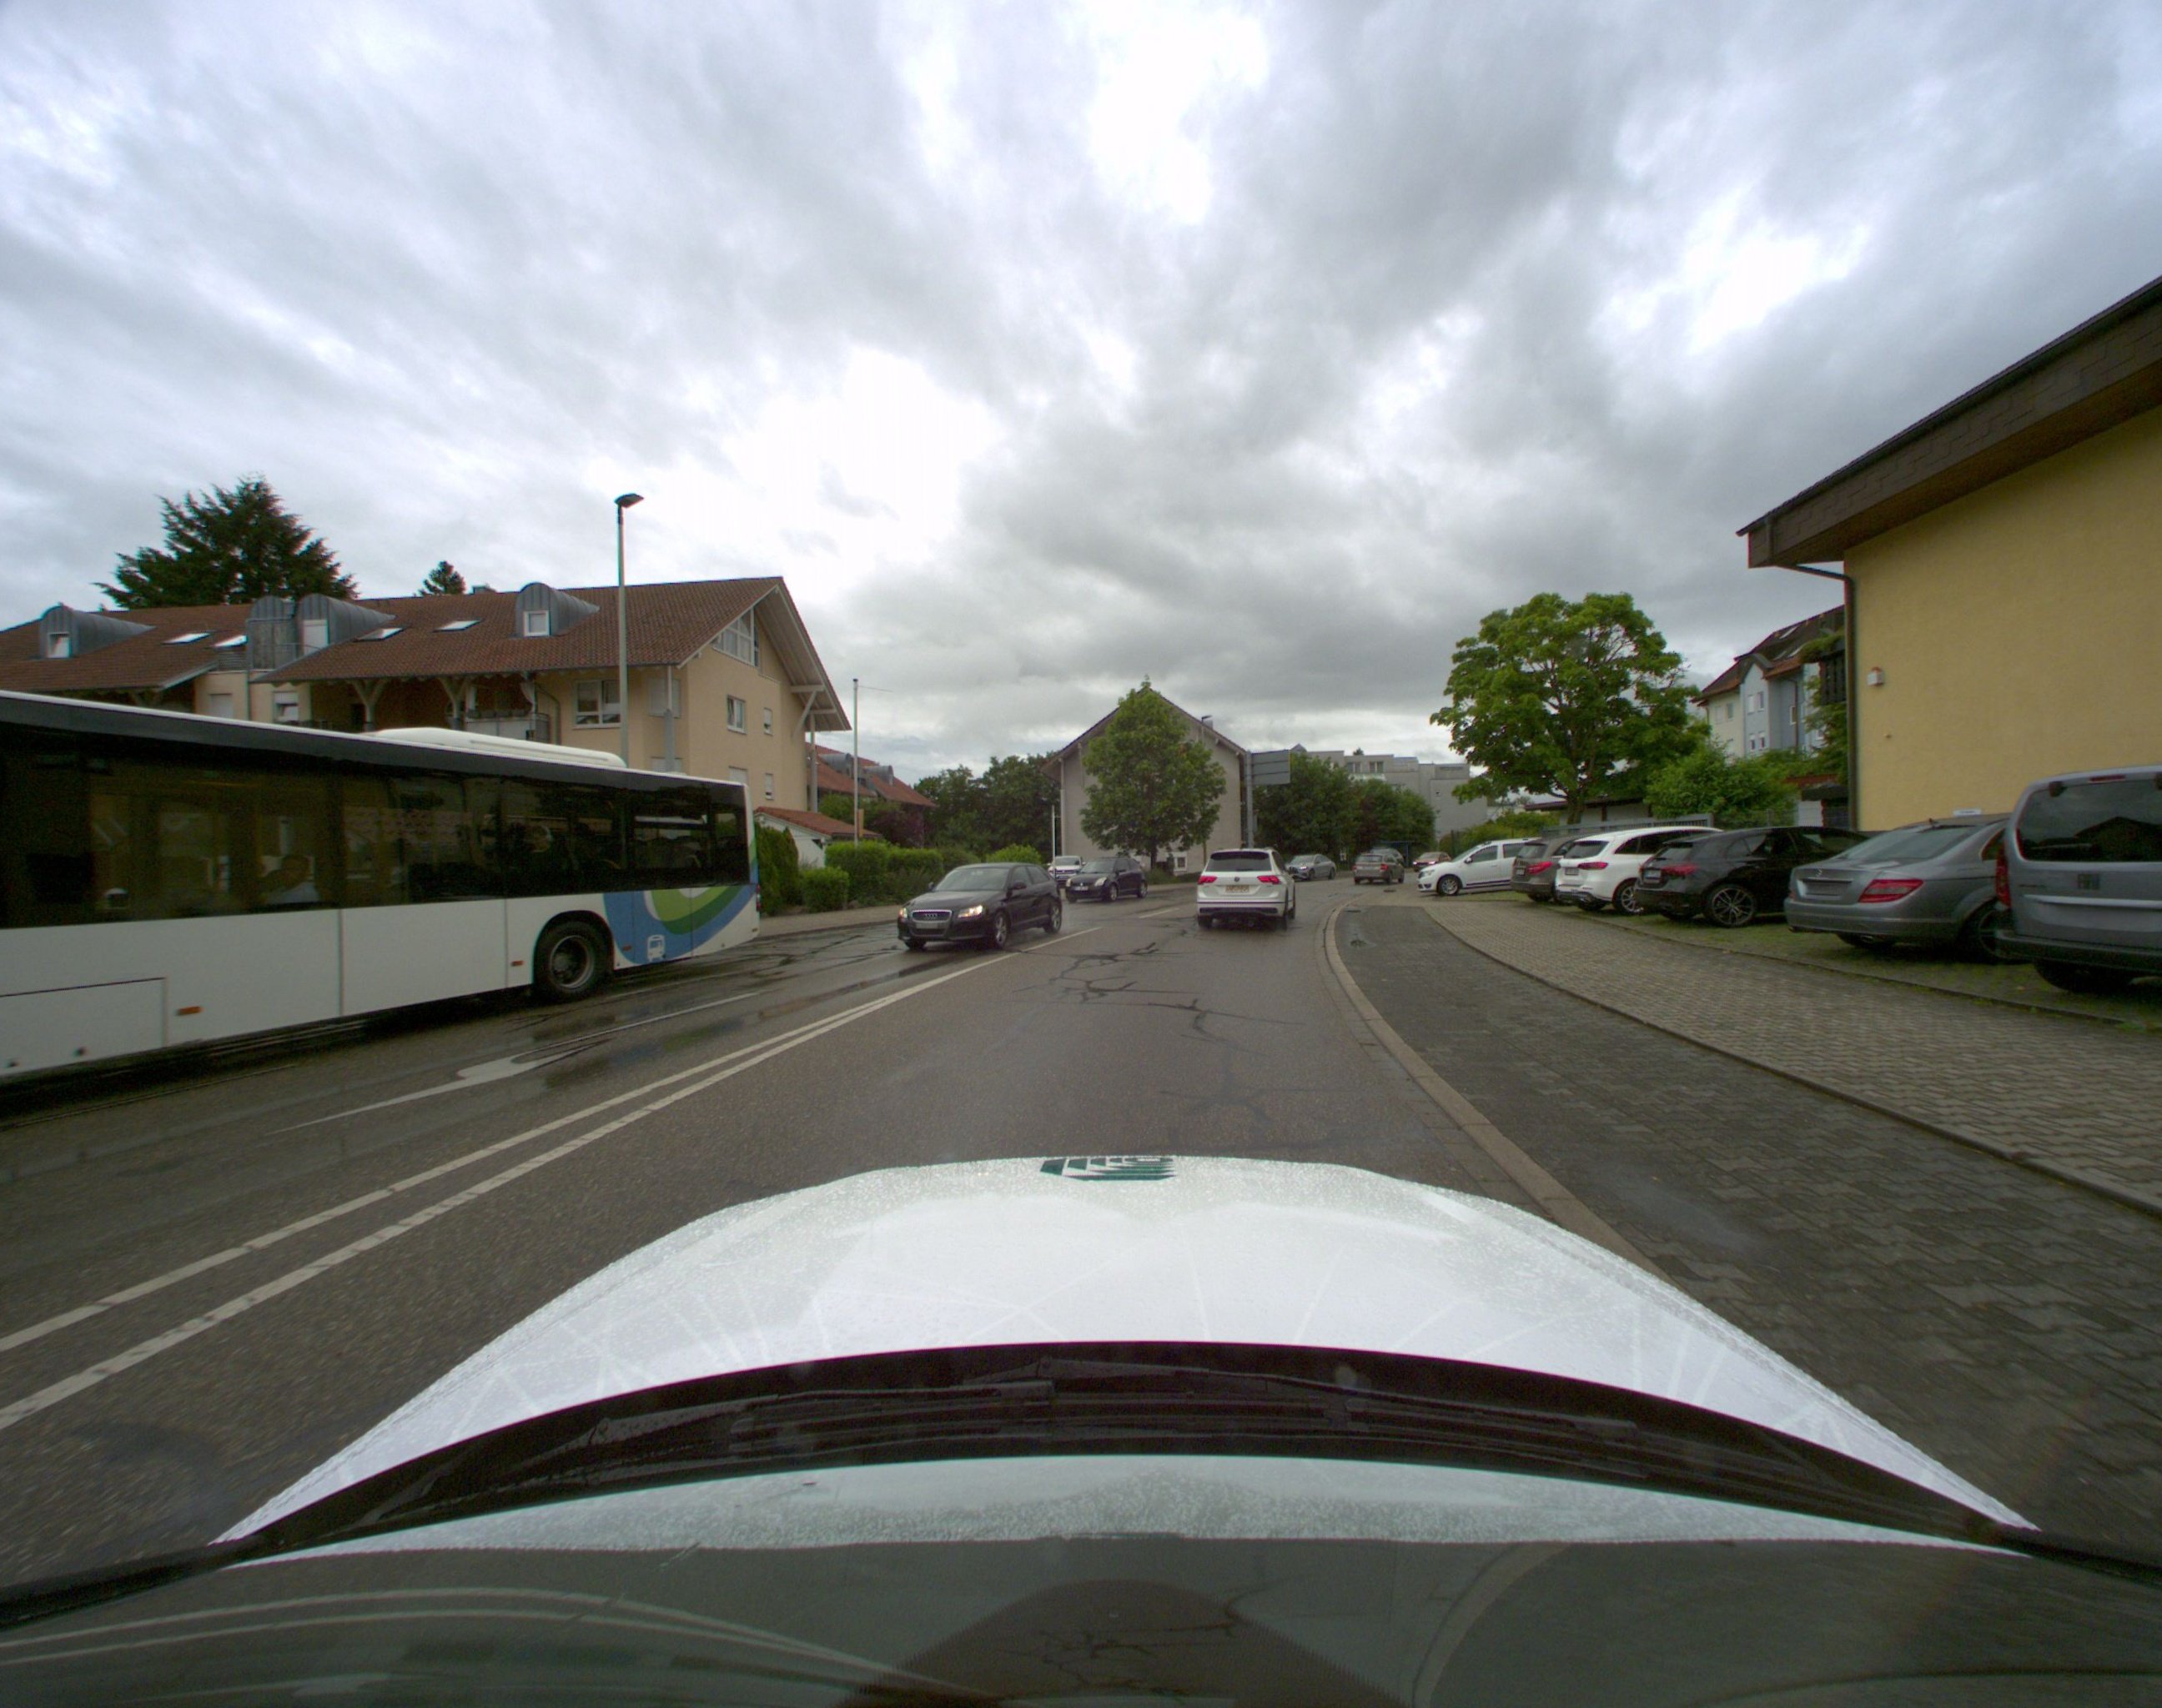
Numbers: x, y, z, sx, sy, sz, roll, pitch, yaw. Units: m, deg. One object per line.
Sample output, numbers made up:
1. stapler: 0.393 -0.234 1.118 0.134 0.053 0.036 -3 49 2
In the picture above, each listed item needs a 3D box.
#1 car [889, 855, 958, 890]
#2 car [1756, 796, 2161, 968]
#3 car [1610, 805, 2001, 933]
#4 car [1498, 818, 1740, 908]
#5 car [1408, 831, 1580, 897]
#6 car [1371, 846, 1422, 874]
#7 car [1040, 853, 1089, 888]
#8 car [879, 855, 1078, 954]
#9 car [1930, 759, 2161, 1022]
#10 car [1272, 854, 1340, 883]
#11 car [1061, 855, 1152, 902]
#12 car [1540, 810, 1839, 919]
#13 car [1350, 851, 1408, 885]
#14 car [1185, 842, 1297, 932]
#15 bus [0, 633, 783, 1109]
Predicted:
1. car: -7.838 0.947 40.926 1.981 1.651 4.011 0 -2 11
2. car: 10.133 0.224 8.592 4.337 1.423 1.699 -5 -1 7
3. car: 10.871 0.245 12.575 4.018 1.489 1.911 -5 -1 11
4. car: 11.934 0.212 18.344 4.020 1.596 1.910 -5 -1 9
5. car: 12.458 0.314 24.853 4.307 1.596 1.774 -5 -1 16
6. car: 21.088 0.361 54.358 1.883 1.657 4.294 0 2 39
7. car: -0.760 0.845 40.366 1.984 1.651 4.005 0 -2 5
8. car: -1.678 0.788 14.990 1.844 1.518 4.314 0 0 20
9. car: 9.467 0.073 5.884 4.270 1.781 1.909 -5 -1 7
10. car: 12.221 0.753 44.060 1.883 1.390 4.517 0 1 39
11. car: 0.934 0.818 28.097 1.572 1.422 3.718 -2 0 29
12. car: 11.283 0.209 15.400 4.022 1.596 1.900 -5 -1 7
13. car: 14.239 0.717 38.767 1.748 1.510 4.025 -1 -2 33
14. car: 3.631 0.641 17.894 1.905 1.722 4.284 0 0 18
15. bus: -7.070 0.117 8.875 2.566 3.000 8.441 -3 0 16
